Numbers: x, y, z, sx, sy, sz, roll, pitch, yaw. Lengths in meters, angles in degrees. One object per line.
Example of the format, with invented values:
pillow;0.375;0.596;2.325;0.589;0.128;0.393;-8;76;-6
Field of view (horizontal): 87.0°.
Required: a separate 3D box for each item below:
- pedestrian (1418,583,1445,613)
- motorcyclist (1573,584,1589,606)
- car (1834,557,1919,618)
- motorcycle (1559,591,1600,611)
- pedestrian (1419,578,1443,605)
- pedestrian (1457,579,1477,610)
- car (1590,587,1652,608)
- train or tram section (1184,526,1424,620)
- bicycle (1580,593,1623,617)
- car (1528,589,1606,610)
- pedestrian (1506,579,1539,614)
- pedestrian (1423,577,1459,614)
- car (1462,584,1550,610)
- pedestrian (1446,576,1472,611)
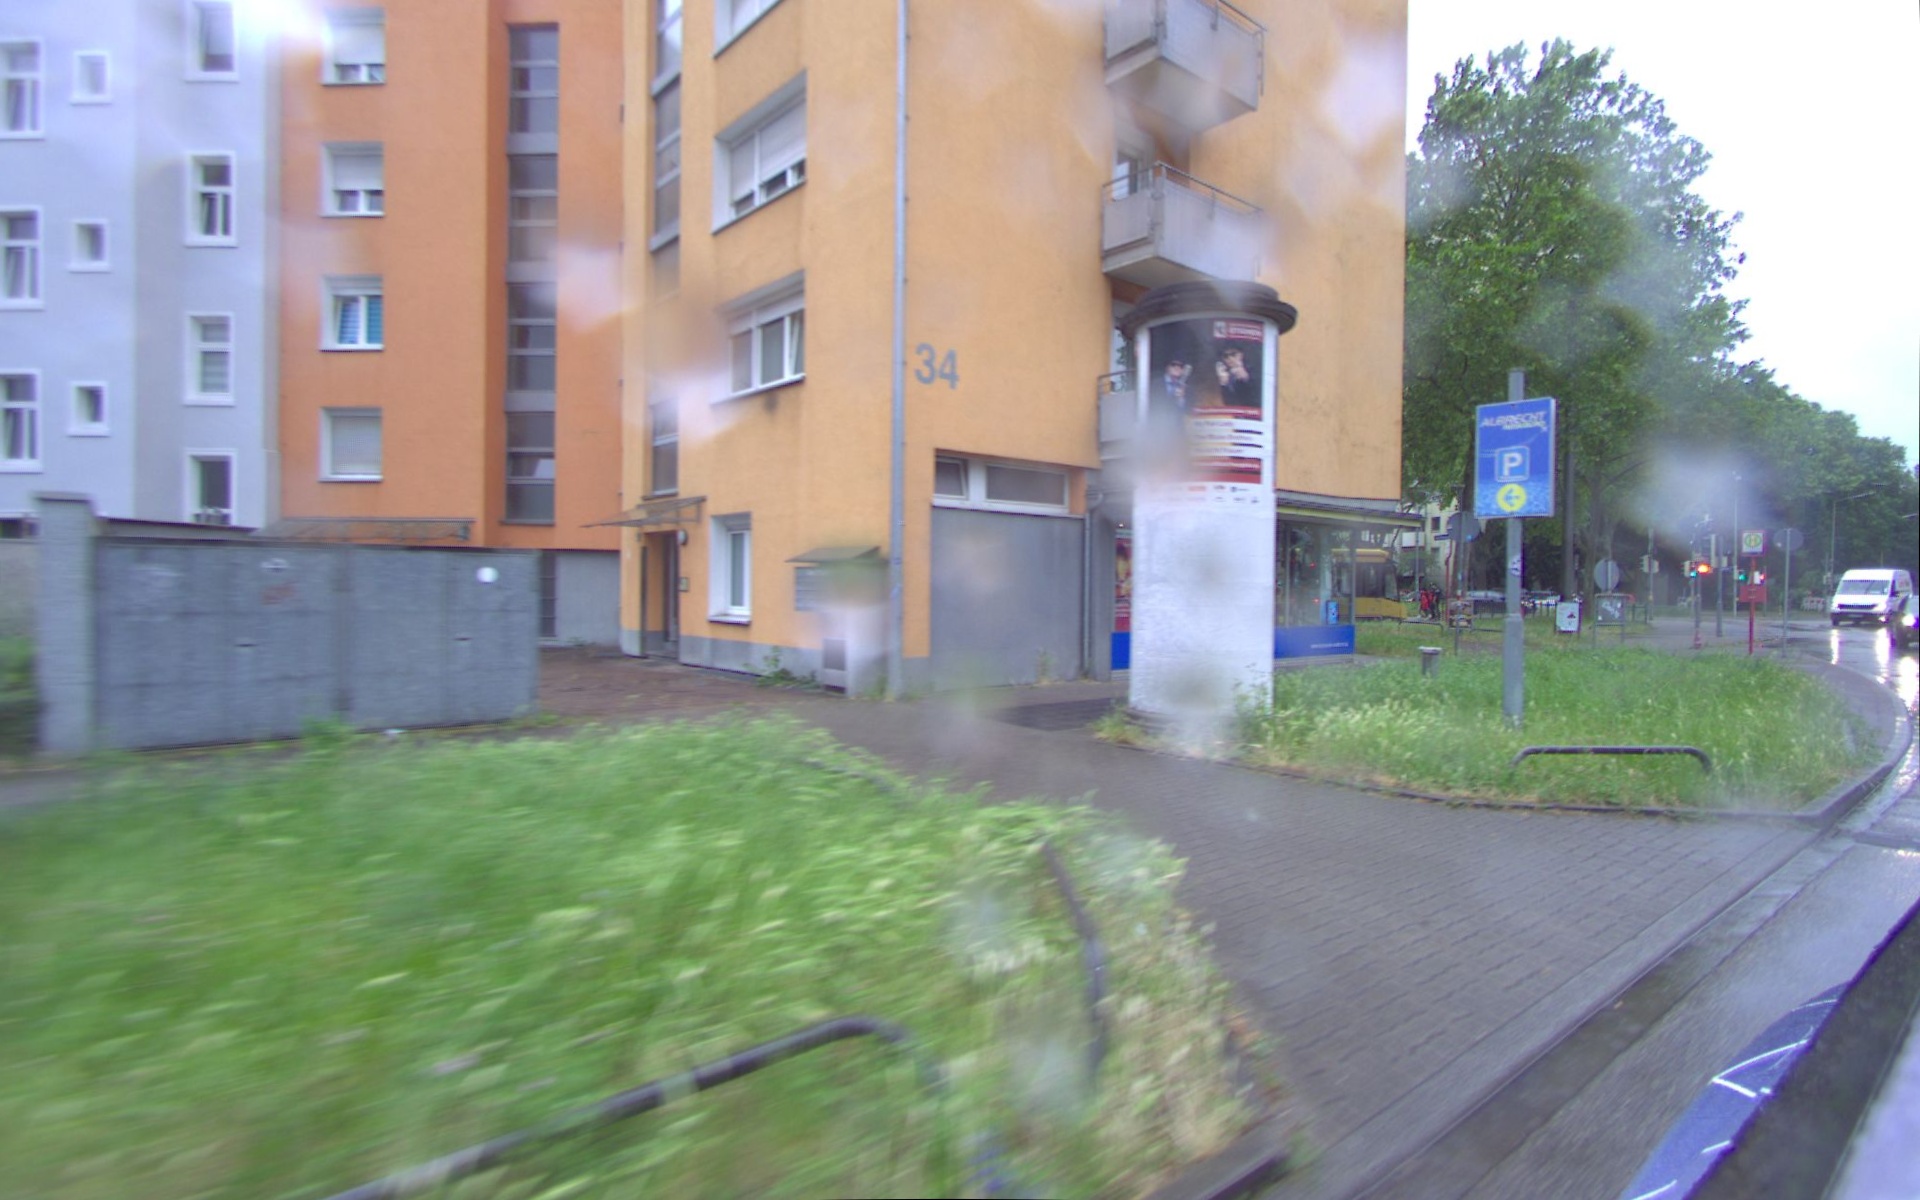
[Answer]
pedestrian;24.241;-0.109;52.043;1.048;1.545;0.875;0;0;12
motorcyclist;38.332;-0.300;62.455;0.752;1.368;0.746;0;0;43
car;42.369;-0.565;46.186;6.387;2.594;2.284;0;0;-35
motorcycle;38.254;0.067;62.501;2.067;1.230;0.867;1;0;44
pedestrian;24.462;-0.457;52.580;0.996;1.399;0.670;1;1;16
pedestrian;25.789;-0.281;51.471;0.751;1.567;0.689;1;1;16
car;48.141;-0.183;73.723;1.812;1.544;3.452;0;0;-44
train or tram section;12.894;-1.020;38.530;8.227;3.412;2.643;0;0;5
bicycle;28.814;0.219;45.470;1.602;1.090;0.442;1;0;25
car;39.099;-0.061;65.229;4.151;1.291;1.876;0;0;39
pedestrian;28.023;-0.200;50.456;0.976;1.707;1.057;1;1;-28
pedestrian;23.468;-0.222;49.391;1.016;1.811;1.239;0;0;-23
car;31.613;-0.193;58.664;4.160;1.479;1.965;1;0;41
pedestrian;25.835;-0.331;52.375;0.979;1.803;0.809;1;1;12
